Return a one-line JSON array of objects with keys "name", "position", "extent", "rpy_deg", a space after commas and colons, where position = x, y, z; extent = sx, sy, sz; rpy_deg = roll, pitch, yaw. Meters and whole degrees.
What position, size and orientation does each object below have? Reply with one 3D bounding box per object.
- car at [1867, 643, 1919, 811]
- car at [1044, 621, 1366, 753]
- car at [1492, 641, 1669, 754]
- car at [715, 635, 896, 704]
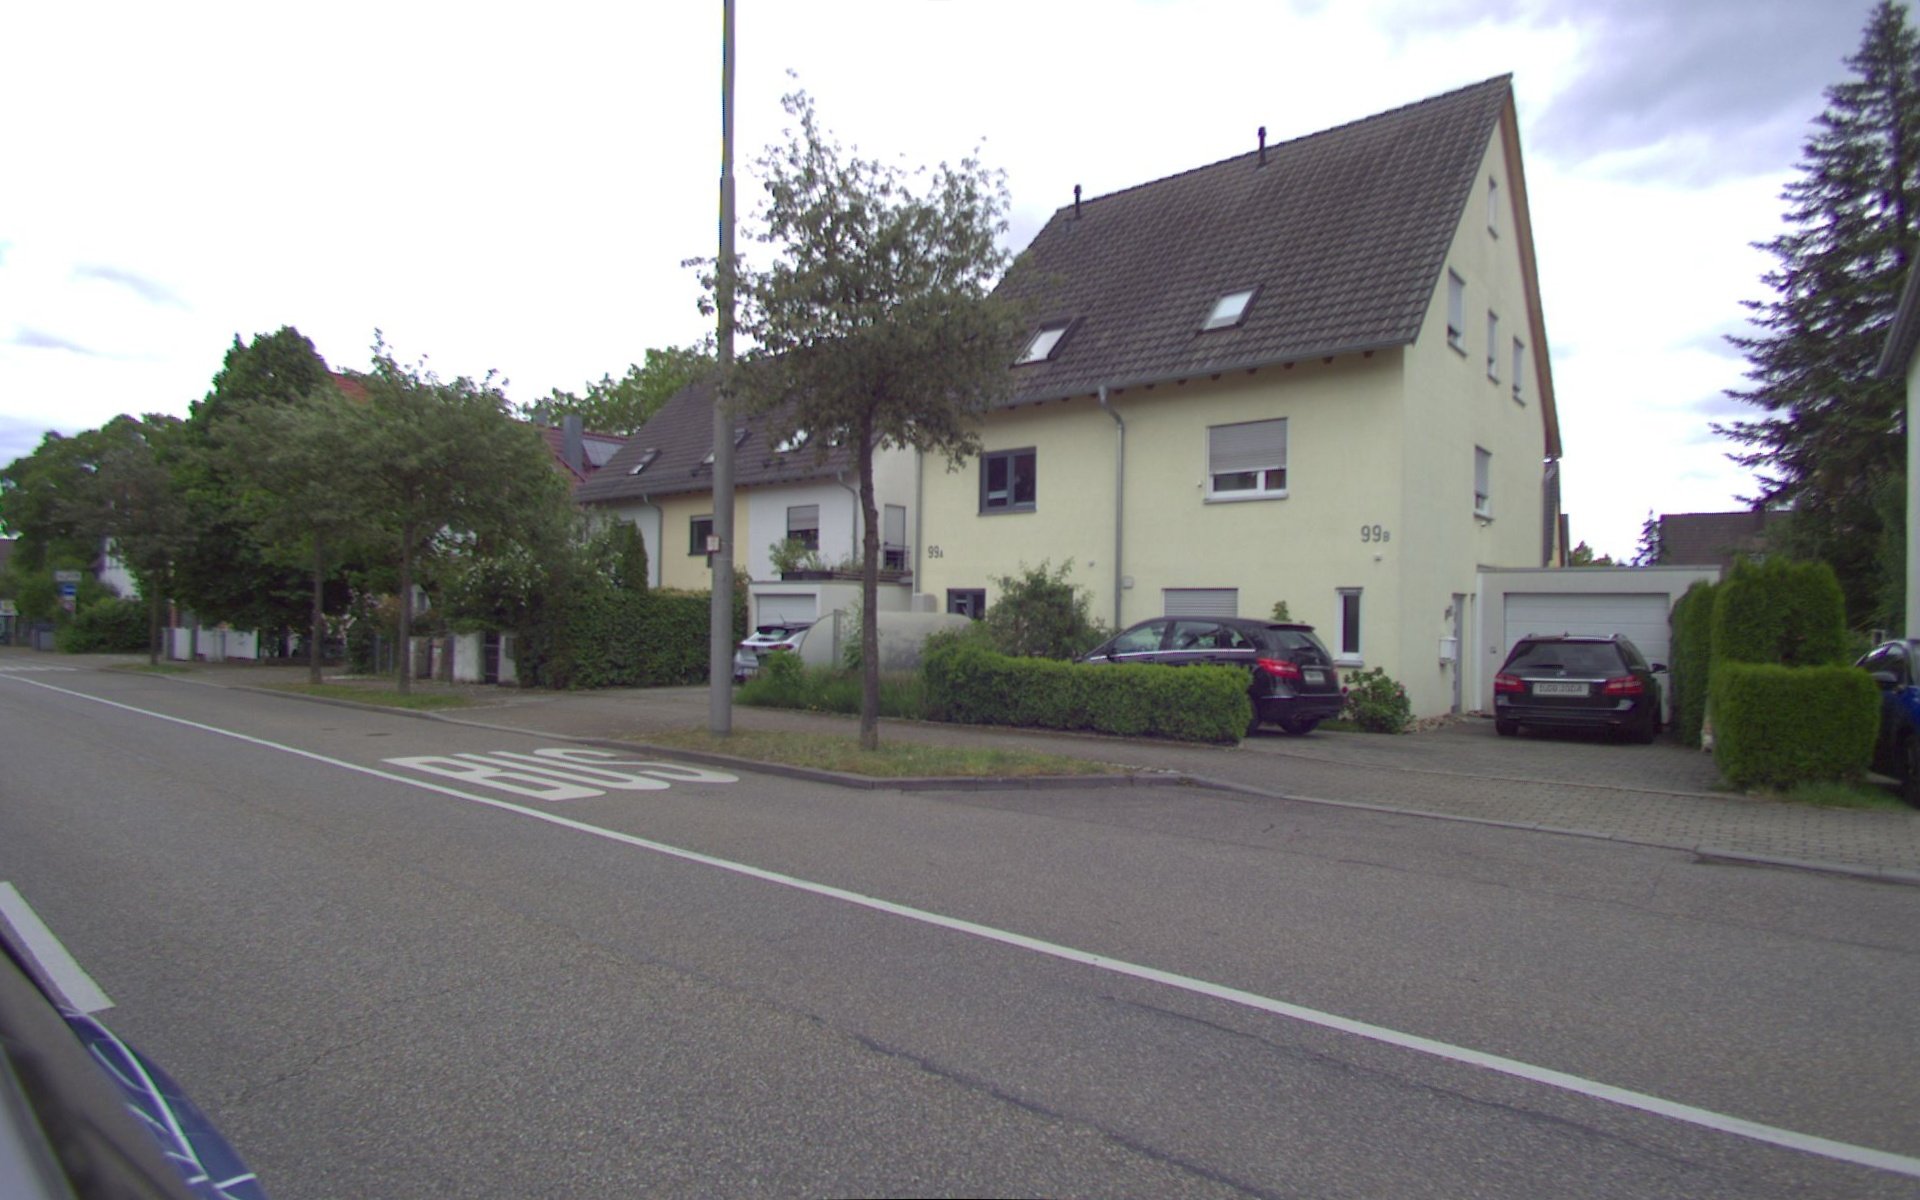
[{"name": "car", "position": [9.085, 1.078, 8.489], "extent": [1.725, 1.381, 3.952], "rpy_deg": [-1, -2, 35]}, {"name": "car", "position": [3.228, 1.099, 13.743], "extent": [3.915, 1.533, 1.729], "rpy_deg": [-2, -4, 42]}, {"name": "car", "position": [8.941, 1.313, 14.438], "extent": [1.792, 1.367, 3.916], "rpy_deg": [-1, -4, 37]}, {"name": "car", "position": [-3.119, 1.376, 20.961], "extent": [1.701, 1.280, 3.517], "rpy_deg": [-1, -2, 37]}]
